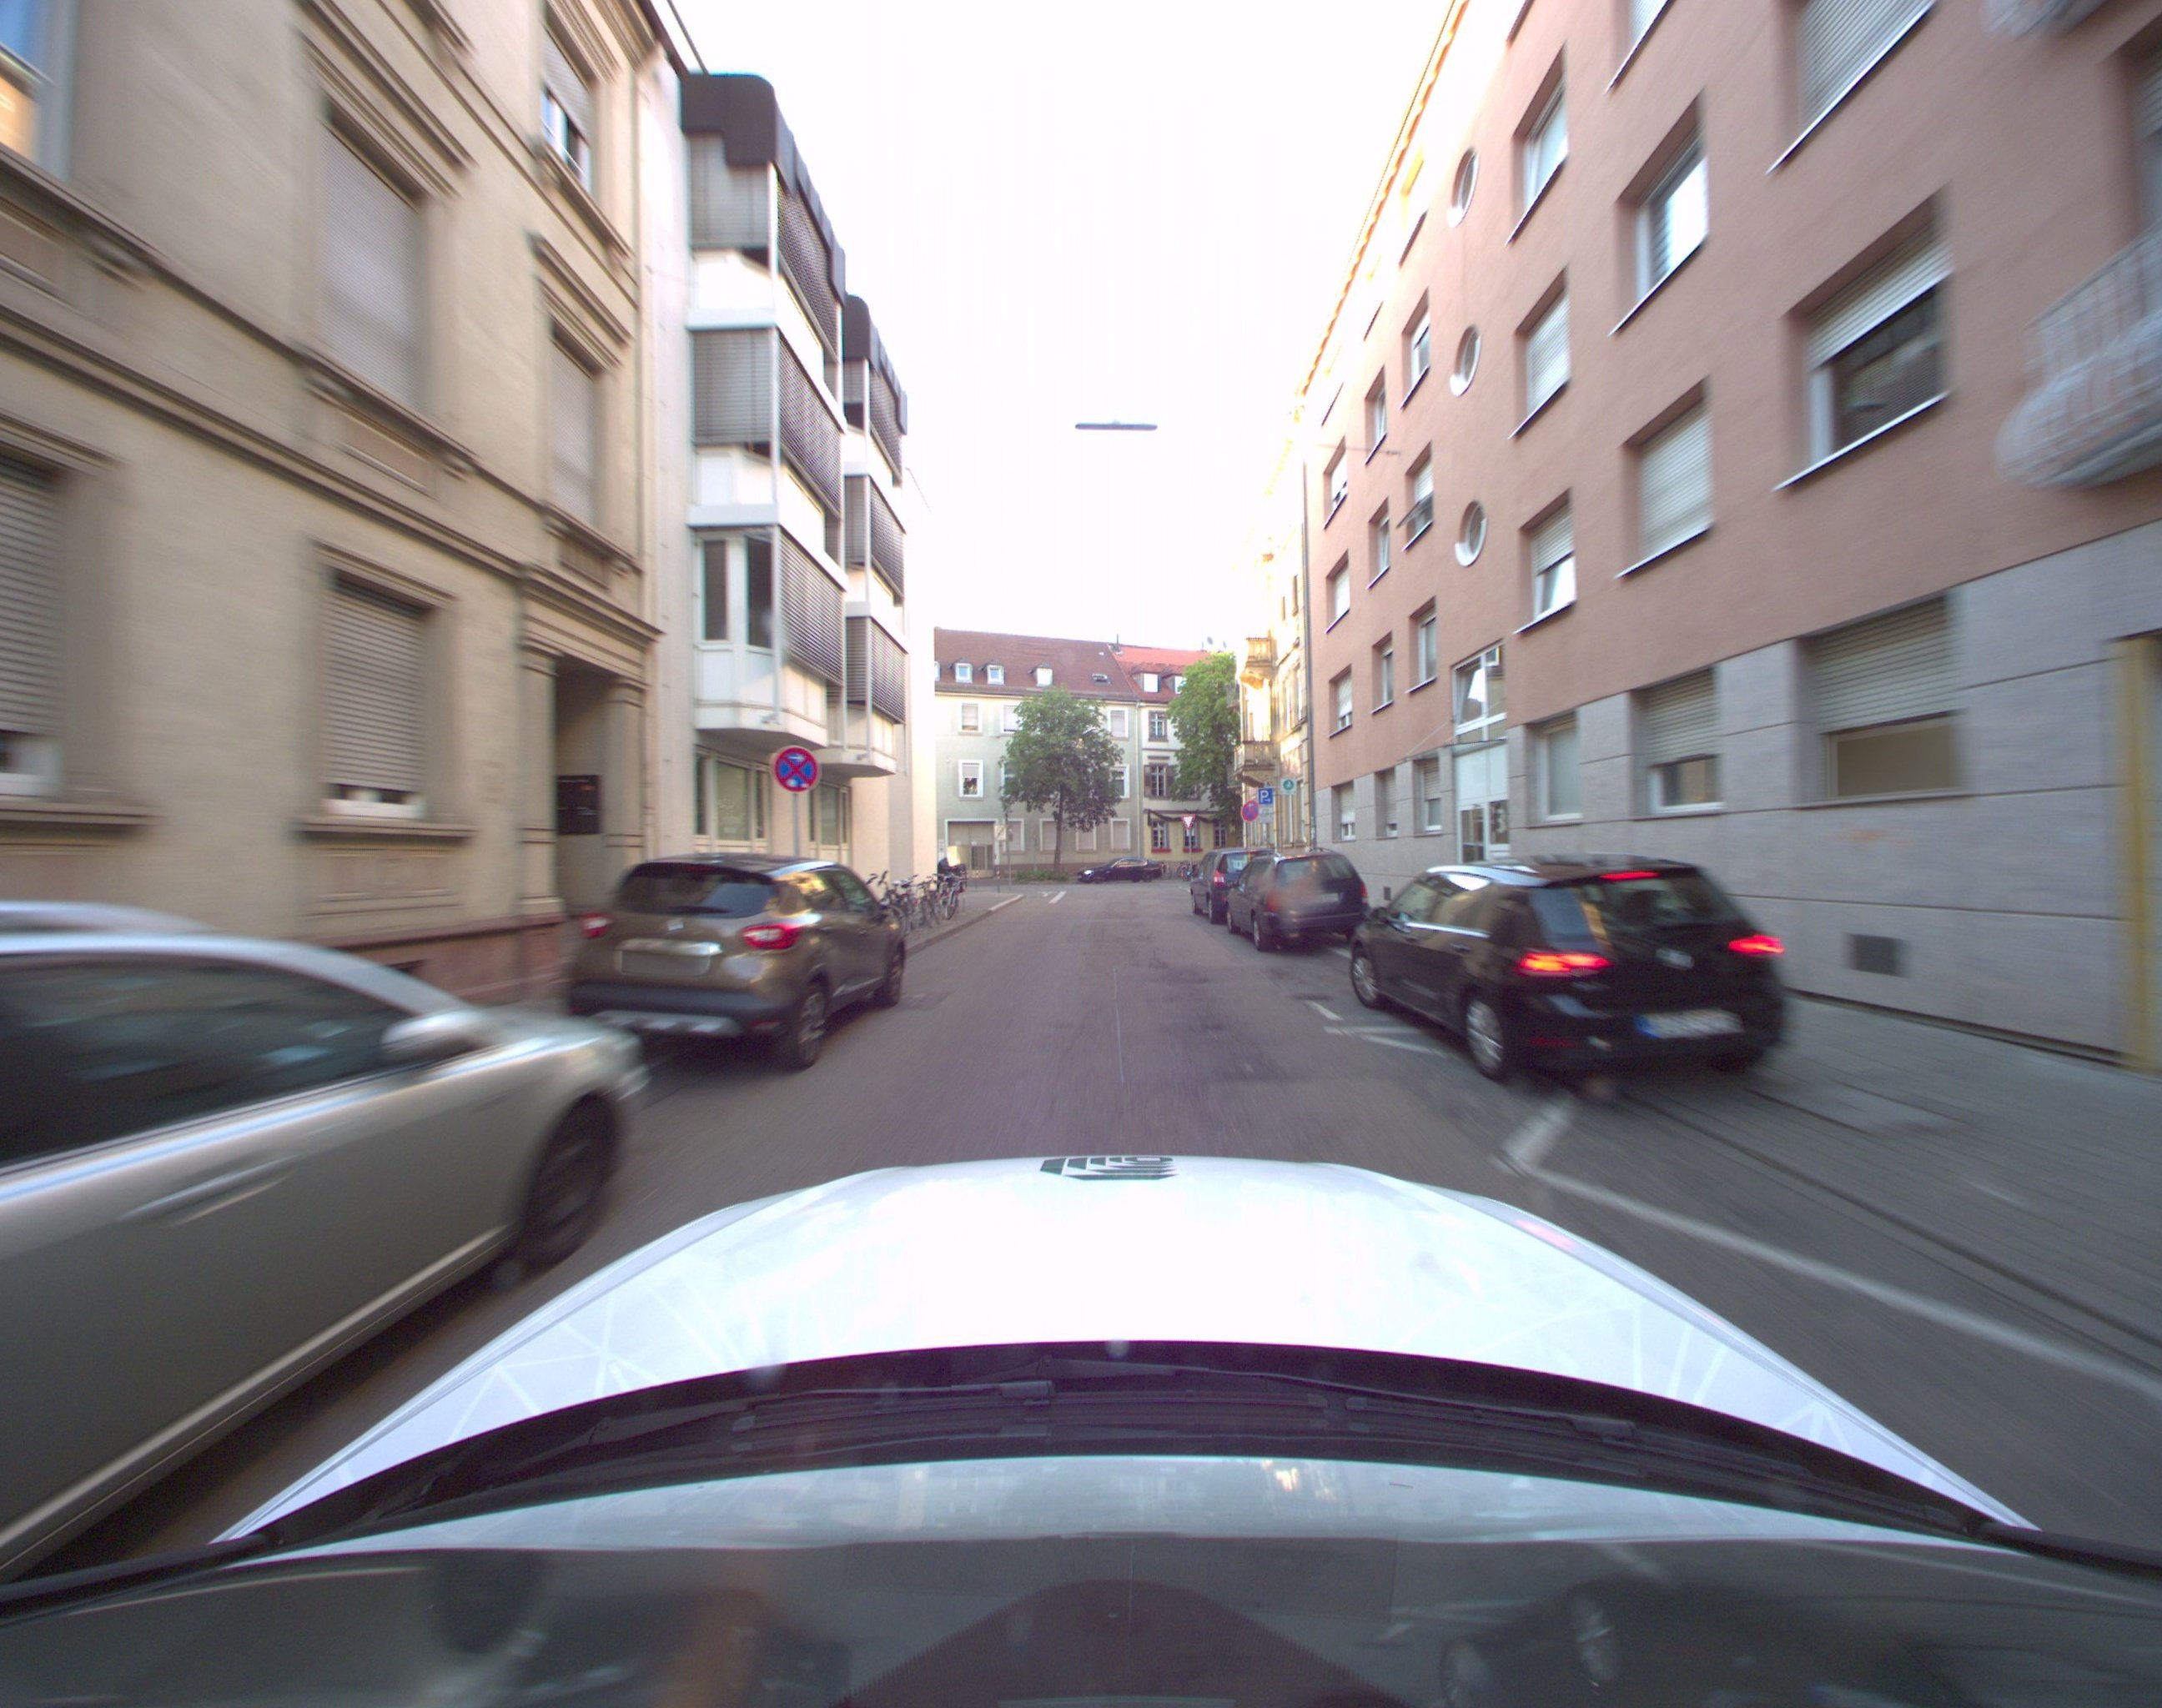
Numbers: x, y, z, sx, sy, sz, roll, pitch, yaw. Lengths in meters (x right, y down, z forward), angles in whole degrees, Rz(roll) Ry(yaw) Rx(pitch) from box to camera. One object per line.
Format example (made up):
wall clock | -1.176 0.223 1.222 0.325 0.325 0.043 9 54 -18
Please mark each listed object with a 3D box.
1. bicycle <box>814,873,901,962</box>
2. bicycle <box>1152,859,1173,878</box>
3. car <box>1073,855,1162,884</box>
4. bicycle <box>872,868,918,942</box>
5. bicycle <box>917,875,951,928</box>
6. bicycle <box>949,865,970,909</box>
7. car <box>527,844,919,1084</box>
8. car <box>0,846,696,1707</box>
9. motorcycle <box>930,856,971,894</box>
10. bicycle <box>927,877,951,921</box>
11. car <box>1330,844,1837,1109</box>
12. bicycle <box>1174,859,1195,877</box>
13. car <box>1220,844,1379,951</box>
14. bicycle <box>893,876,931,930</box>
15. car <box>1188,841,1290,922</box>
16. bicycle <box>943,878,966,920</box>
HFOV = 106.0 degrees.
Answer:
bicycle | -3.449 0.938 12.796 0.593 1.187 2.267 -2 0 3
bicycle | 5.255 0.941 52.453 0.421 1.145 2.028 -2 0 -21
car | 2.053 0.848 45.865 4.668 1.450 1.756 -2 0 -20
bicycle | -3.370 0.891 14.856 0.305 1.222 1.814 -1 0 3
bicycle | -3.190 1.010 17.770 0.305 1.042 1.814 -1 0 3
bicycle | -3.249 0.859 21.880 0.399 1.102 1.810 -1 0 -4
car | -2.836 0.747 7.567 1.785 1.576 4.070 -1 0 0
car | -2.821 0.778 1.791 1.785 1.539 4.434 -1 0 0
motorcycle | -5.601 0.887 34.787 0.673 1.555 2.136 -1 -1 -41
bicycle | -3.396 1.055 19.562 0.306 0.932 1.811 -1 0 -2
car | 3.460 0.694 6.659 1.683 1.458 4.133 -1 0 2
bicycle | 6.572 0.893 51.925 0.421 1.145 2.028 -2 0 -21
car | 3.548 0.637 14.016 1.683 1.514 4.285 -1 0 2
bicycle | -3.588 1.022 17.378 0.305 1.042 1.814 -1 0 3
car | 3.540 0.574 18.923 1.683 1.625 4.056 -1 0 2
bicycle | -3.090 1.075 19.987 0.306 0.932 1.812 -1 0 -1
